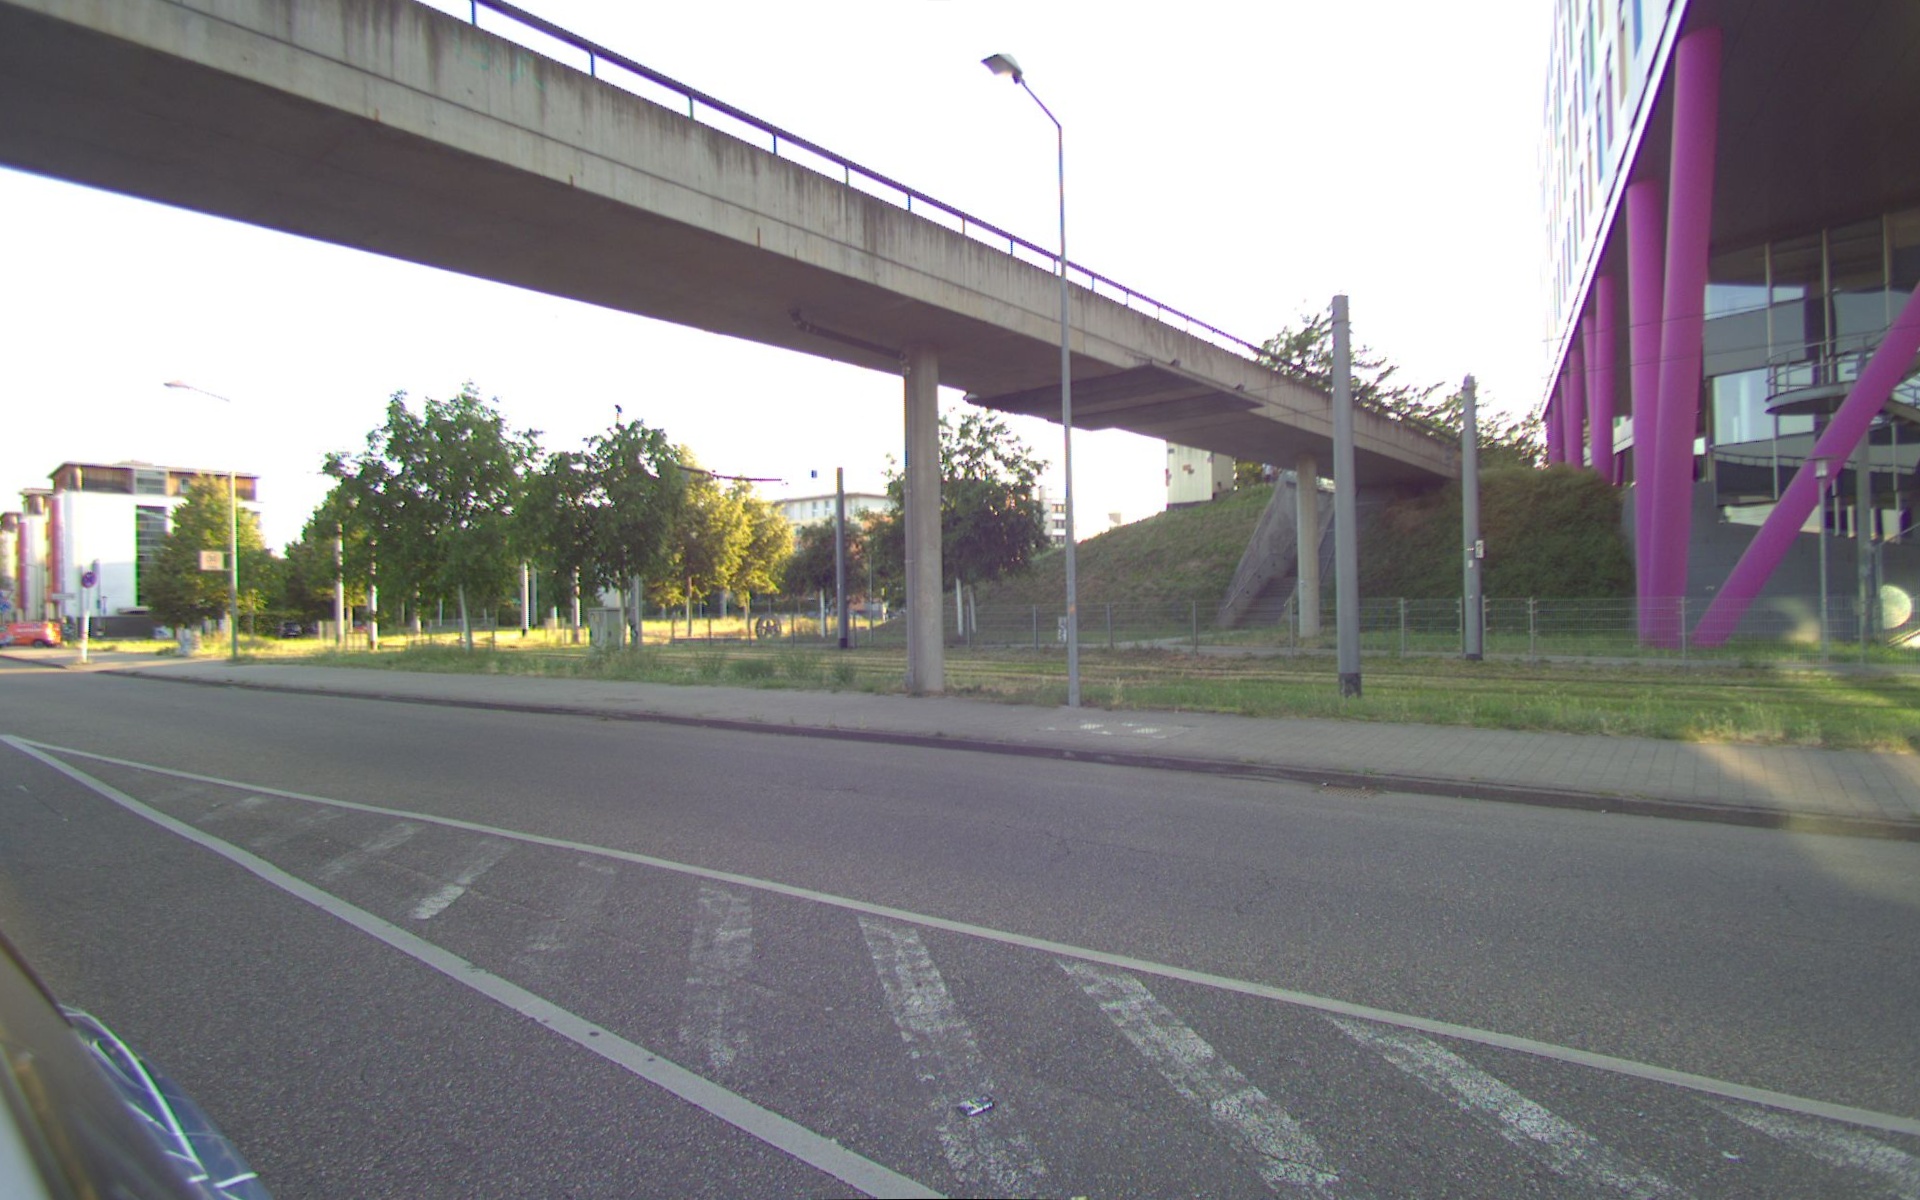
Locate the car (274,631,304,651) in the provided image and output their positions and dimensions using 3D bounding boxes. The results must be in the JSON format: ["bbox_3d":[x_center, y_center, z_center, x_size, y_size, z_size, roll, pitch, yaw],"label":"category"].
[{"bbox_3d":[-56.934,3.446,85.850,1.913,1.541,4.009,-1,-1,-36],"label":"car"}]

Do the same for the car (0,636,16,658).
[{"bbox_3d":[-80.612,3.902,83.415,2.000,1.741,3.944,-2,-1,42],"label":"car"}]

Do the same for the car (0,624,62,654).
[{"bbox_3d":[-68.359,2.807,72.656,5.430,2.029,2.007,-1,-1,-23],"label":"car"}]

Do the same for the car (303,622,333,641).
[{"bbox_3d":[-55.291,2.737,87.092,1.913,1.541,4.009,-1,-1,-36],"label":"car"}]
